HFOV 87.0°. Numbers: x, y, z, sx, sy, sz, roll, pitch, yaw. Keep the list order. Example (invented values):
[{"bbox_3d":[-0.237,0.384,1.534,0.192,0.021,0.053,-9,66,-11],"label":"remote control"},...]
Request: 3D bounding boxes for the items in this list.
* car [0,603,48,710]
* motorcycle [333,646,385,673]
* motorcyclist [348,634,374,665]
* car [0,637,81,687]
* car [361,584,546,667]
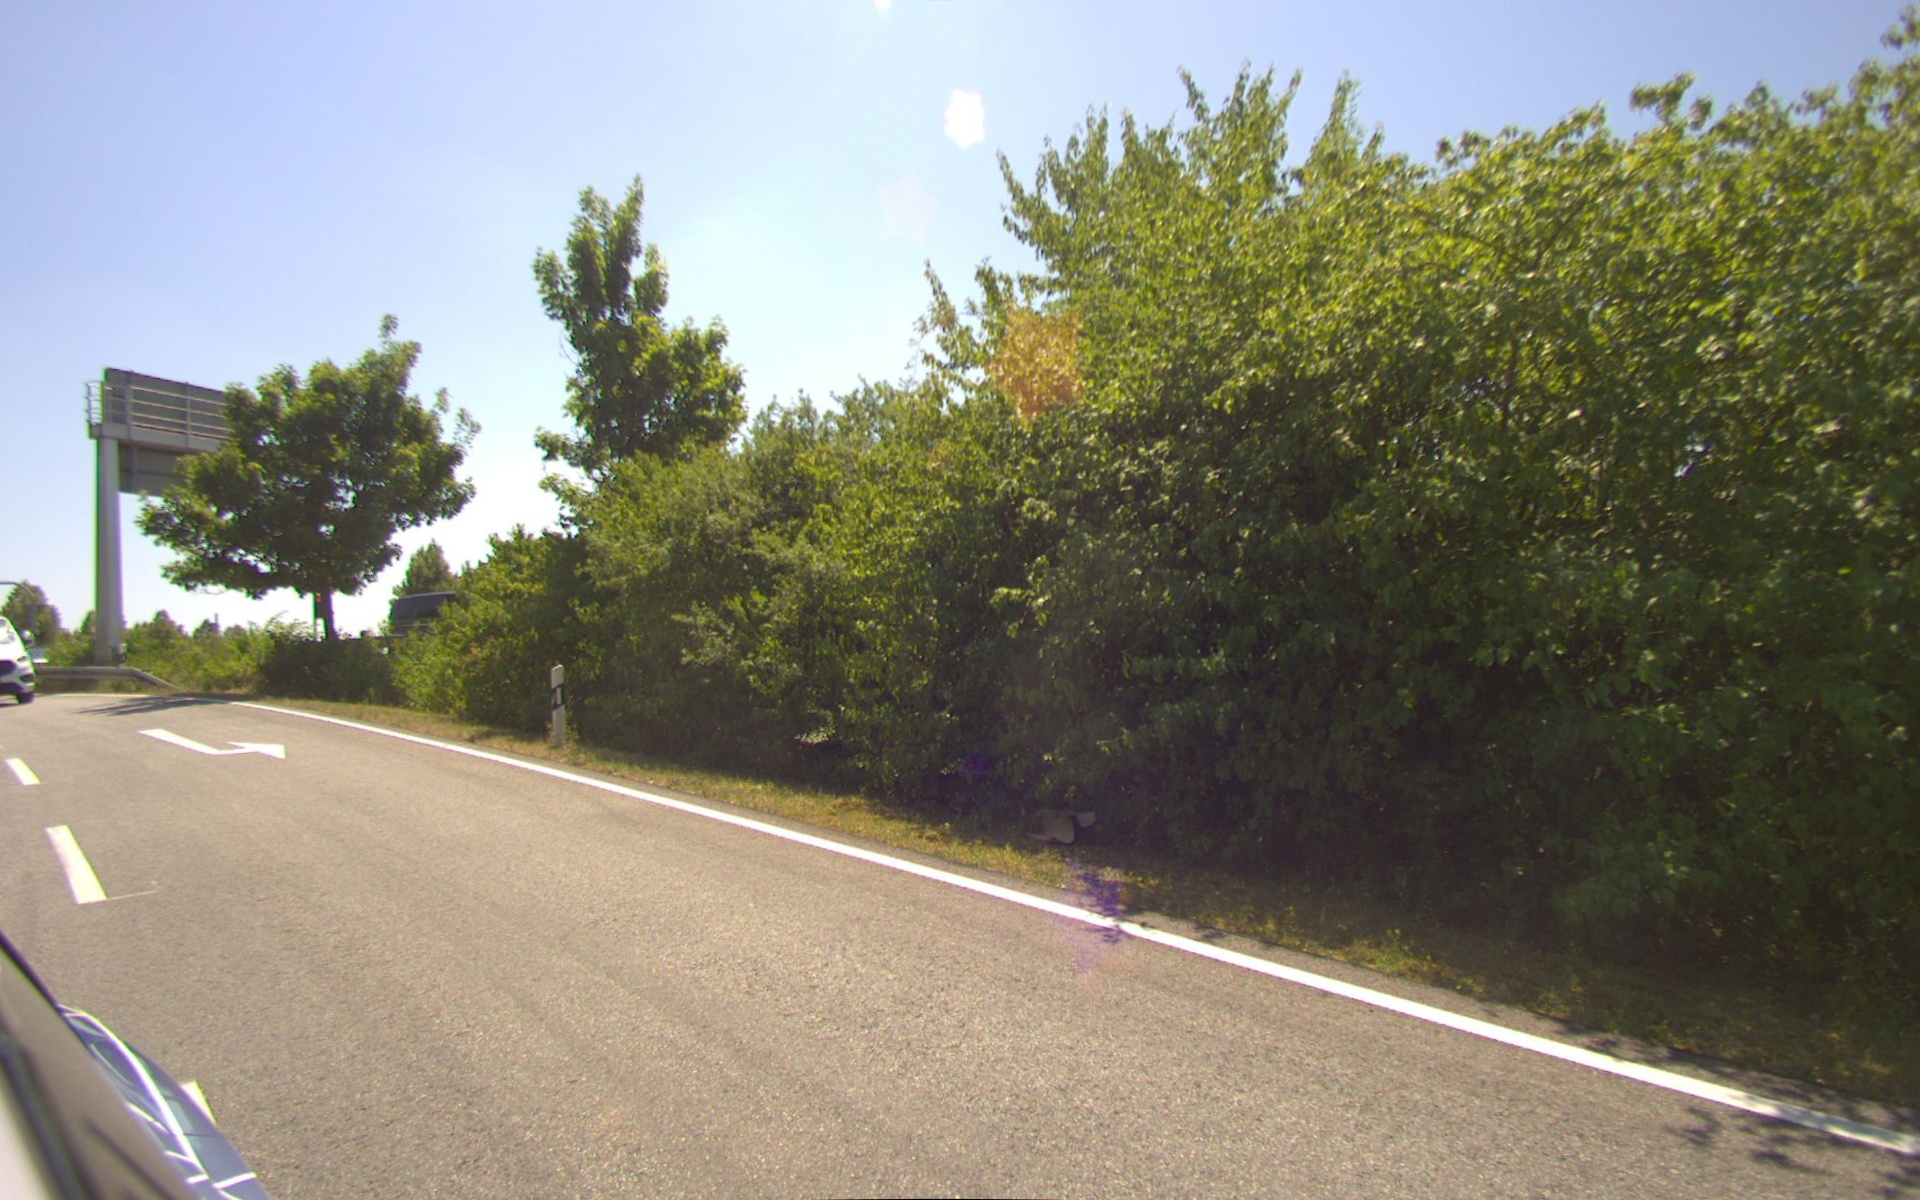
[{"bbox_3d":[-21.708,1.383,21.636,5.859,2.100,2.008,-5,-1,36],"label":"car"},{"bbox_3d":[-26.612,2.639,44.795,2.262,1.088,0.561,-3,-4,14],"label":"motorcycle"},{"bbox_3d":[-26.511,2.183,44.809,0.716,1.313,0.673,-3,-5,14],"label":"motorcyclist"},{"bbox_3d":[-33.143,2.211,35.978,3.848,1.562,1.771,-3,1,32],"label":"car"},{"bbox_3d":[-13.357,0.732,26.692,4.503,1.934,1.930,-3,-4,23],"label":"car"}]
